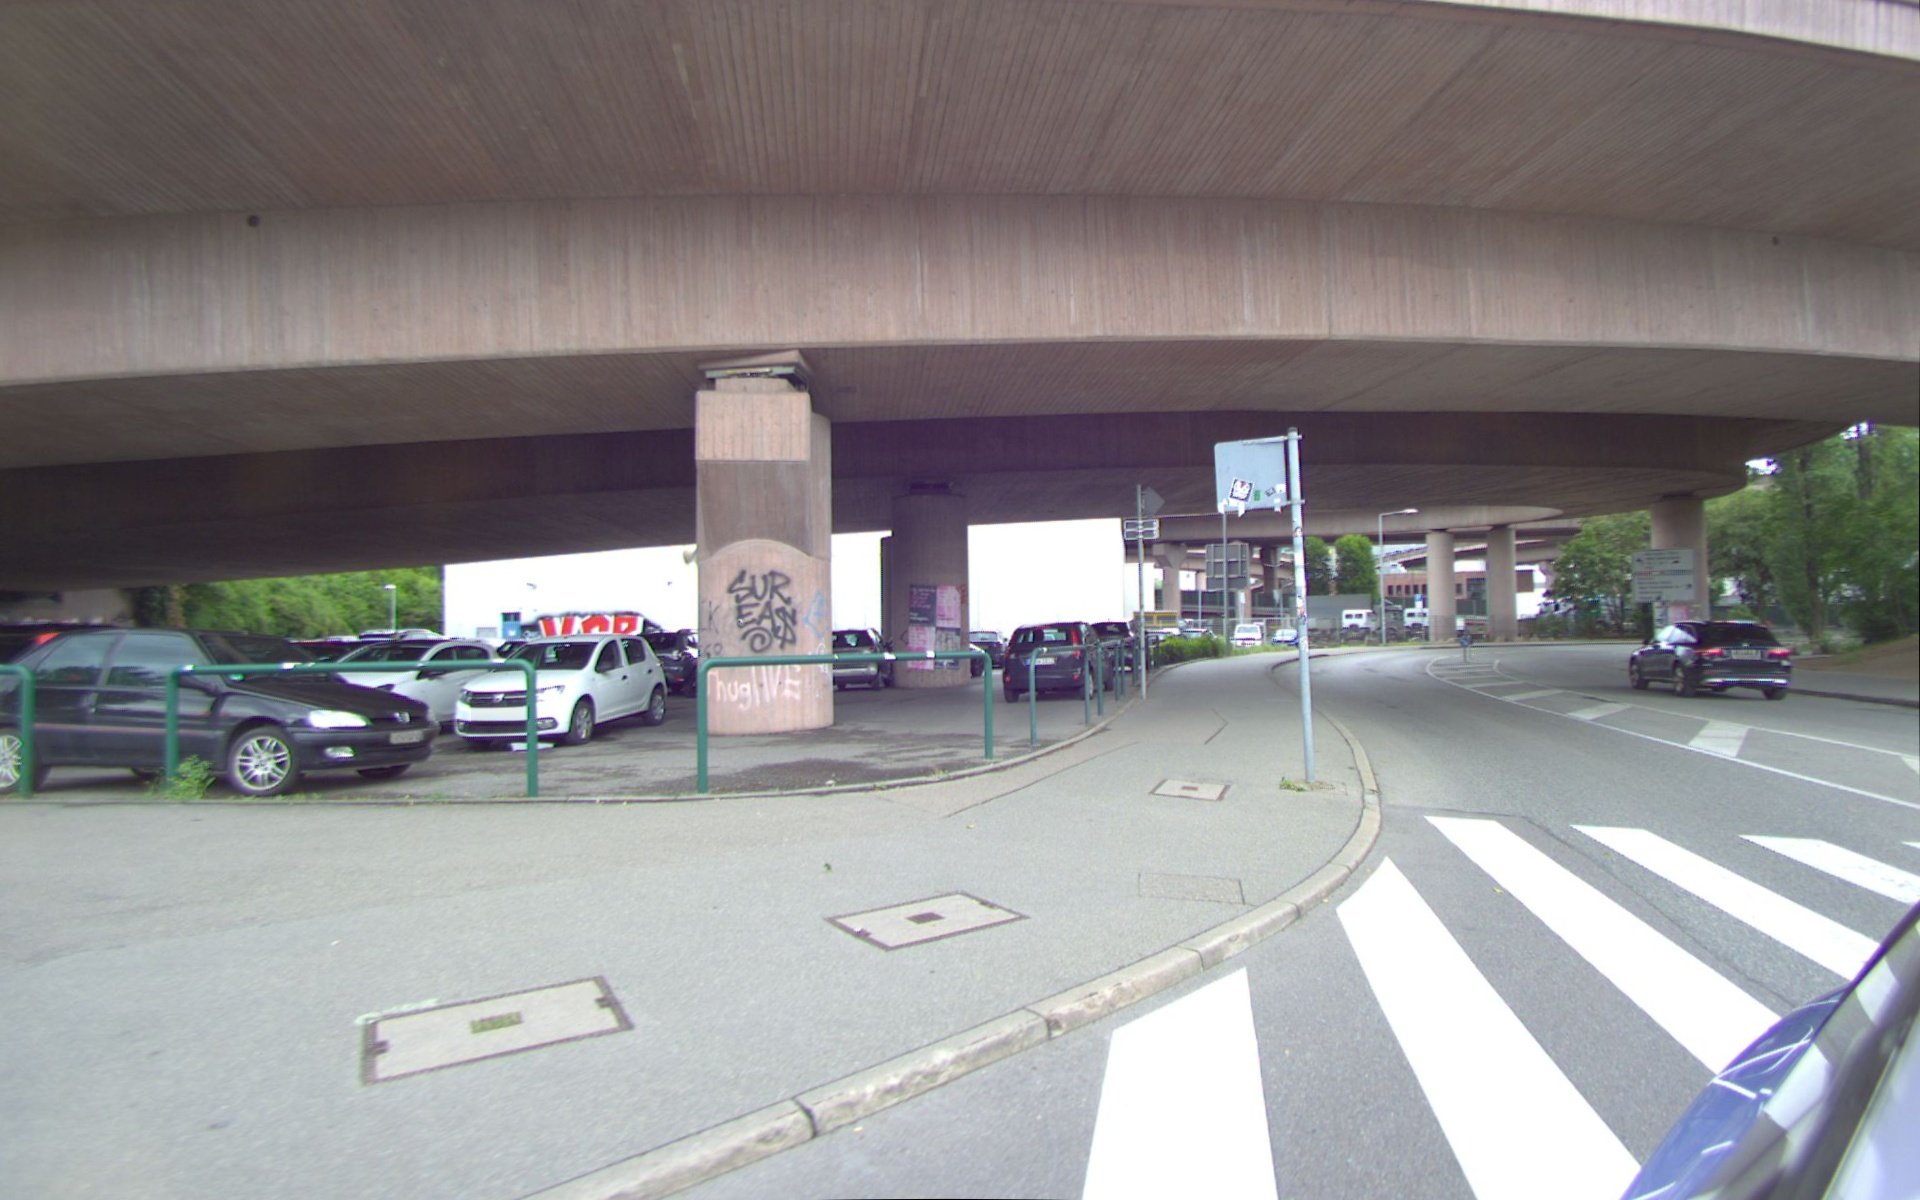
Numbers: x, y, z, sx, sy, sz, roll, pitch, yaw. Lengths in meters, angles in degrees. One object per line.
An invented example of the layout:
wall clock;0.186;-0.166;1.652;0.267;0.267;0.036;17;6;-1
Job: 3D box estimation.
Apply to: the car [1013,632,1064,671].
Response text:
car;3.247;2.049;41.077;1.807;1.439;4.181;0;-2;8

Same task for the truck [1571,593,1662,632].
truck;58.853;1.108;90.860;6.319;3.452;2.260;0;-1;15

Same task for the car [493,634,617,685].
car;-12.777;1.851;32.225;1.807;1.485;4.181;0;-2;8

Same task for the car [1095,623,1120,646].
car;10.511;2.432;71.872;1.598;1.564;3.086;0;-1;12

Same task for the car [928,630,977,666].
car;-0.317;2.200;47.117;1.727;1.577;4.077;0;-2;8

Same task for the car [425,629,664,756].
car;-5.894;1.236;14.918;1.610;1.572;4.005;0;-1;5

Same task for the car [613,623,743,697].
car;-7.071;1.464;25.765;1.807;1.720;3.852;0;-2;8

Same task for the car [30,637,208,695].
car;-23.201;1.786;28.100;1.651;1.446;3.653;0;-2;8

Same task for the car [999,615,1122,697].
car;2.022;1.038;19.526;1.590;1.415;3.557;-3;-2;18

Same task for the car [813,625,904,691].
car;-2.513;1.439;25.793;1.505;1.519;3.366;-3;-2;8

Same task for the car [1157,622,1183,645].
car;15.055;2.391;72.714;1.747;1.608;4.347;0;-1;10

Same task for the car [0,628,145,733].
car;-15.329;1.235;15.989;1.725;1.576;3.859;0;-2;2

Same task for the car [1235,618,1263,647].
car;20.790;2.308;72.688;1.868;1.982;4.653;0;-2;17

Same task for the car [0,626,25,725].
car;-17.546;1.275;16.080;1.725;1.716;3.859;0;-2;2

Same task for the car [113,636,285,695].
car;-20.590;1.729;27.588;1.651;1.446;3.653;0;-2;8

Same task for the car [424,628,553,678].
car;-15.048;1.663;32.564;1.807;1.485;4.181;0;-2;8

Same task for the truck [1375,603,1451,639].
truck;36.504;1.717;81.460;7.099;2.779;2.423;1;-2;-36

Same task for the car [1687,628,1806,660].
car;37.660;2.106;48.489;4.674;1.449;1.830;0;-4;-12

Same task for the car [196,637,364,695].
car;-18.373;1.739;27.556;1.651;1.446;3.852;0;-2;8

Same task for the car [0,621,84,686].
car;-27.678;1.520;28.931;1.852;1.812;3.653;0;-2;8

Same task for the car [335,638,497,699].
car;-14.094;1.732;26.492;1.807;1.446;3.852;0;-2;8

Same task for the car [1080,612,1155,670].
car;4.654;1.175;29.605;1.590;1.553;3.389;-3;-2;18

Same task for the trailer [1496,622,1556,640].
trailer;45.928;2.531;82.087;4.290;1.348;1.609;0;0;-15

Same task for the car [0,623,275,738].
car;-12.952;1.163;15.917;1.667;1.576;3.859;0;-2;2

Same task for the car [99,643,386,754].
car;-10.942;1.434;15.813;1.667;1.462;3.859;0;-2;2

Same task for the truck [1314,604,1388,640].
truck;32.088;1.819;83.009;5.997;2.924;2.460;1;-2;-31

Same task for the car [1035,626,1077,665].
car;4.457;2.053;46.326;1.716;1.697;4.458;0;-2;8

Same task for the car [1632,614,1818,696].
car;16.573;1.127;22.228;1.821;1.594;4.522;-1;-1;18

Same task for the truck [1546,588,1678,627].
truck;60.333;0.722;93.893;10.058;3.543;2.262;0;-1;13

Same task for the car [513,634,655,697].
car;-9.527;1.614;25.971;1.807;1.446;3.852;0;-2;8

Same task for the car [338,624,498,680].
car;-17.716;1.653;33.436;2.056;1.699;5.093;0;-2;8

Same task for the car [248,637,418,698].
car;-16.502;1.728;26.878;1.807;1.446;3.852;0;-2;8

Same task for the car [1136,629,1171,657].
car;10.775;2.343;56.421;1.829;1.494;4.670;-1;-2;11

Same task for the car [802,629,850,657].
car;-7.780;2.494;59.123;1.740;1.553;3.965;0;-2;9

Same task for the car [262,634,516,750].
car;-8.568;1.305;15.616;1.667;1.529;3.859;0;-2;2

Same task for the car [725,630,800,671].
car;-8.213;2.057;42.416;1.807;1.613;4.181;0;-2;8

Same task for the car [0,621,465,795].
car;-6.476;0.902;8.858;3.638;1.347;1.505;-1;-3;9

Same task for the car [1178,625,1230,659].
car;11.347;1.938;46.981;1.532;1.498;2.729;-1;-2;32

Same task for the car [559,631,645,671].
car;-15.446;2.167;43.890;1.807;1.613;4.181;0;-2;8

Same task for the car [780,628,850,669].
car;-5.968;1.988;42.224;1.807;1.613;4.181;0;-2;8

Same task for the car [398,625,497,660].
car;-22.376;1.834;44.386;1.807;1.427;4.181;0;-2;8

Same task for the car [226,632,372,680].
car;-22.112;1.829;34.046;1.807;1.485;4.181;0;-2;8

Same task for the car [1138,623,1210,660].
car;9.172;1.720;43.157;1.722;1.498;4.200;-1;-2;32

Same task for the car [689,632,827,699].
car;-4.947;1.580;25.444;1.810;1.489;4.362;-2;-2;12

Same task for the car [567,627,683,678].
car;-10.378;1.587;31.709;1.807;1.485;4.181;0;-2;8

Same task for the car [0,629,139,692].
car;-25.457;1.639;28.350;1.651;1.619;3.653;0;-2;8

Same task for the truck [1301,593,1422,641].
truck;38.023;1.634;96.320;9.976;4.423;3.899;0;-2;11

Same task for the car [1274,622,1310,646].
car;23.527;2.397;71.702;1.758;1.656;4.640;-1;-2;27

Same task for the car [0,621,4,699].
car;-11.358;0.920;9.217;4.175;1.439;1.506;-1;-3;7

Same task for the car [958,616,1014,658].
car;1.114;1.464;41.134;1.807;1.613;4.181;0;-2;8

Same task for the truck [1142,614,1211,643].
truck;22.254;2.918;103.880;6.828;2.971;3.036;0;-2;15

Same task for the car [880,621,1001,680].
car;-0.518;1.452;29.879;1.777;1.526;3.815;-3;-1;32
